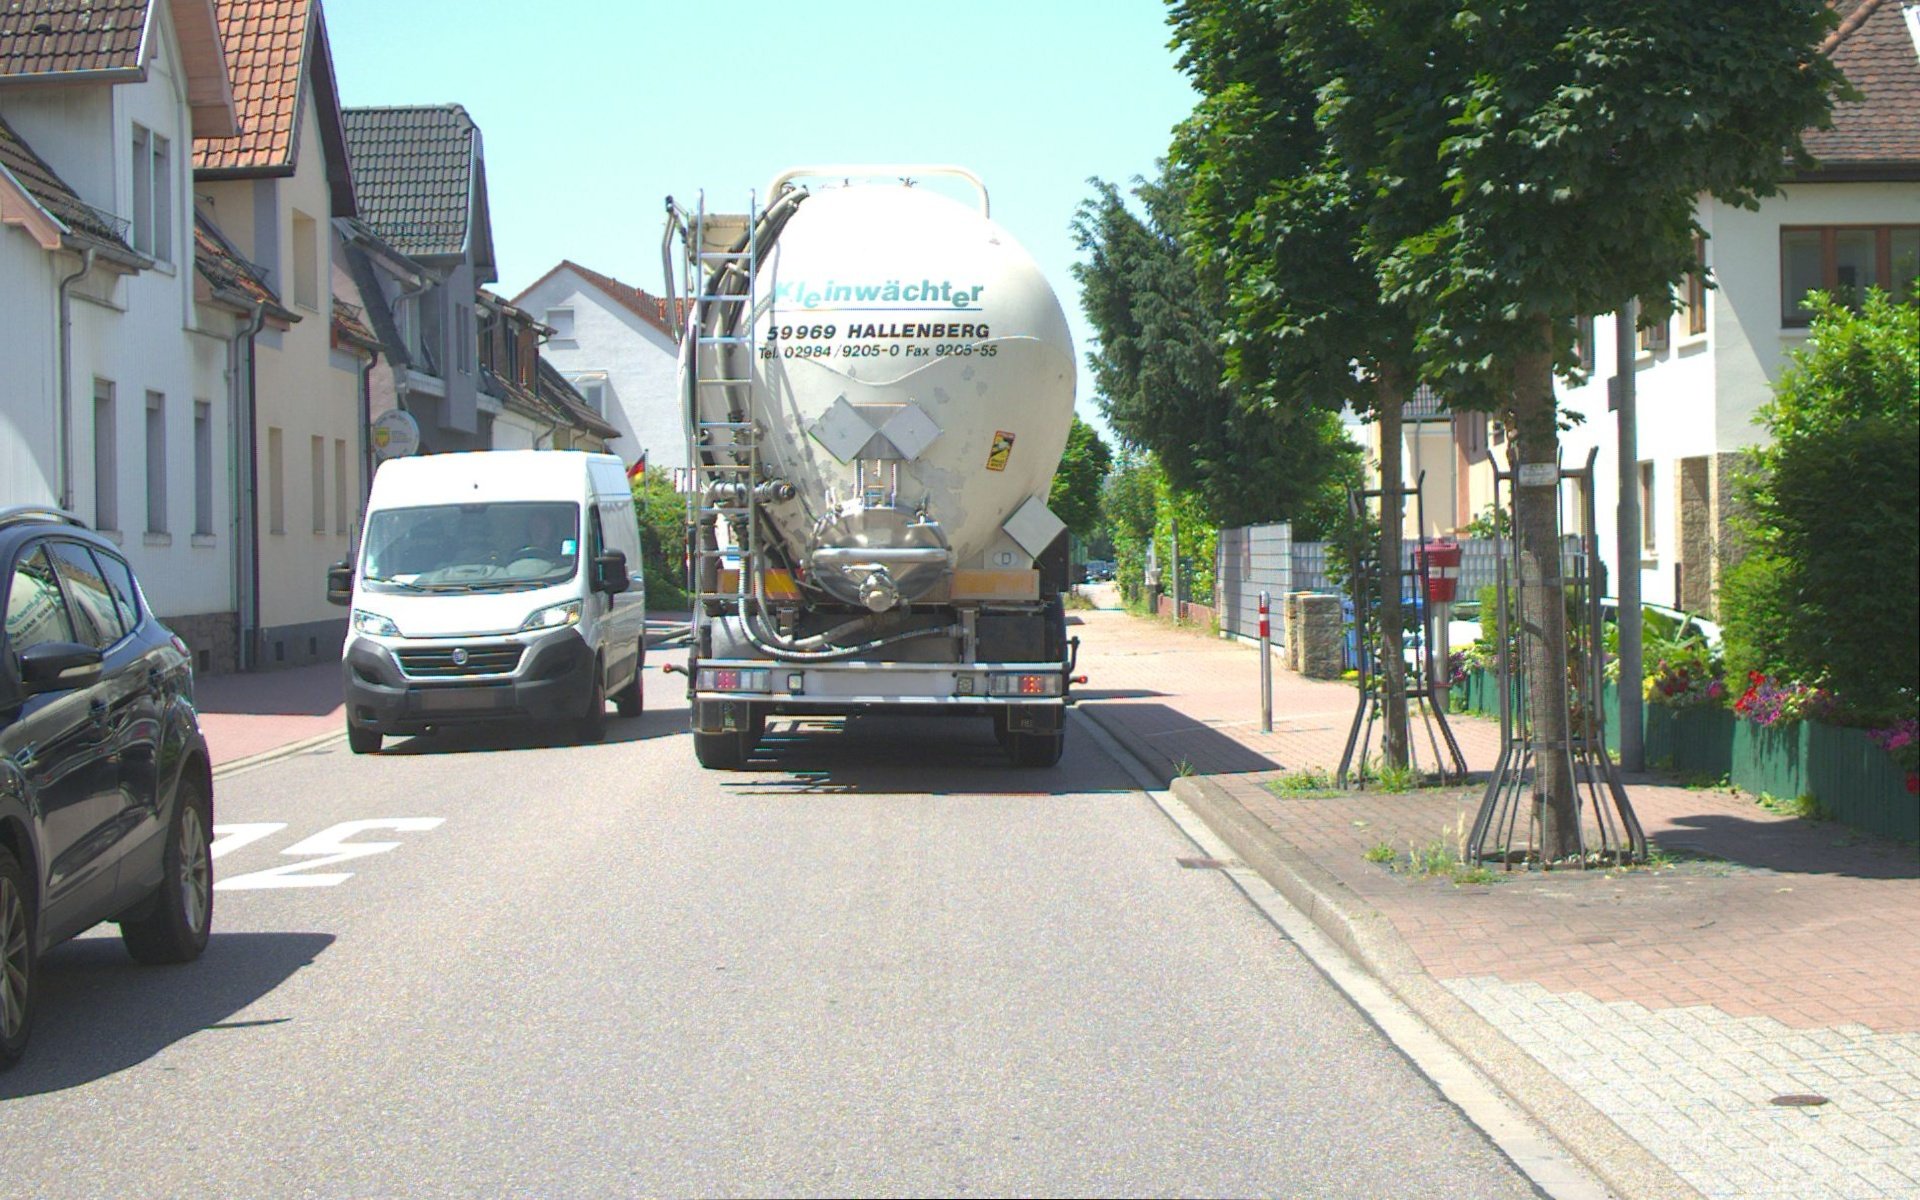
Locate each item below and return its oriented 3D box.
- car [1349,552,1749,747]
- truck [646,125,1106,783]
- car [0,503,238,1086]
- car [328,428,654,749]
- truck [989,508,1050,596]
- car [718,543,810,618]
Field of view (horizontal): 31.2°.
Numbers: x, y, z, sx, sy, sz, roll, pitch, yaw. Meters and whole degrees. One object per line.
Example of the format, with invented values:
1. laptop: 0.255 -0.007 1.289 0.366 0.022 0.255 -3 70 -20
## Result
1. car: 6.854 0.560 40.313 4.170 1.581 1.907 9 1 0
2. truck: -0.596 -0.902 24.862 2.732 3.946 8.142 1 0 -1
3. car: -3.711 0.560 11.186 1.839 1.664 4.324 -2 1 -1
4. car: -3.936 -0.137 29.901 2.069 2.446 6.008 -2 1 -1
5. truck: 2.280 -1.800 129.095 1.994 3.126 9.447 1 1 2
6. car: -4.458 -0.452 78.731 1.851 1.566 4.255 -3 1 -1
